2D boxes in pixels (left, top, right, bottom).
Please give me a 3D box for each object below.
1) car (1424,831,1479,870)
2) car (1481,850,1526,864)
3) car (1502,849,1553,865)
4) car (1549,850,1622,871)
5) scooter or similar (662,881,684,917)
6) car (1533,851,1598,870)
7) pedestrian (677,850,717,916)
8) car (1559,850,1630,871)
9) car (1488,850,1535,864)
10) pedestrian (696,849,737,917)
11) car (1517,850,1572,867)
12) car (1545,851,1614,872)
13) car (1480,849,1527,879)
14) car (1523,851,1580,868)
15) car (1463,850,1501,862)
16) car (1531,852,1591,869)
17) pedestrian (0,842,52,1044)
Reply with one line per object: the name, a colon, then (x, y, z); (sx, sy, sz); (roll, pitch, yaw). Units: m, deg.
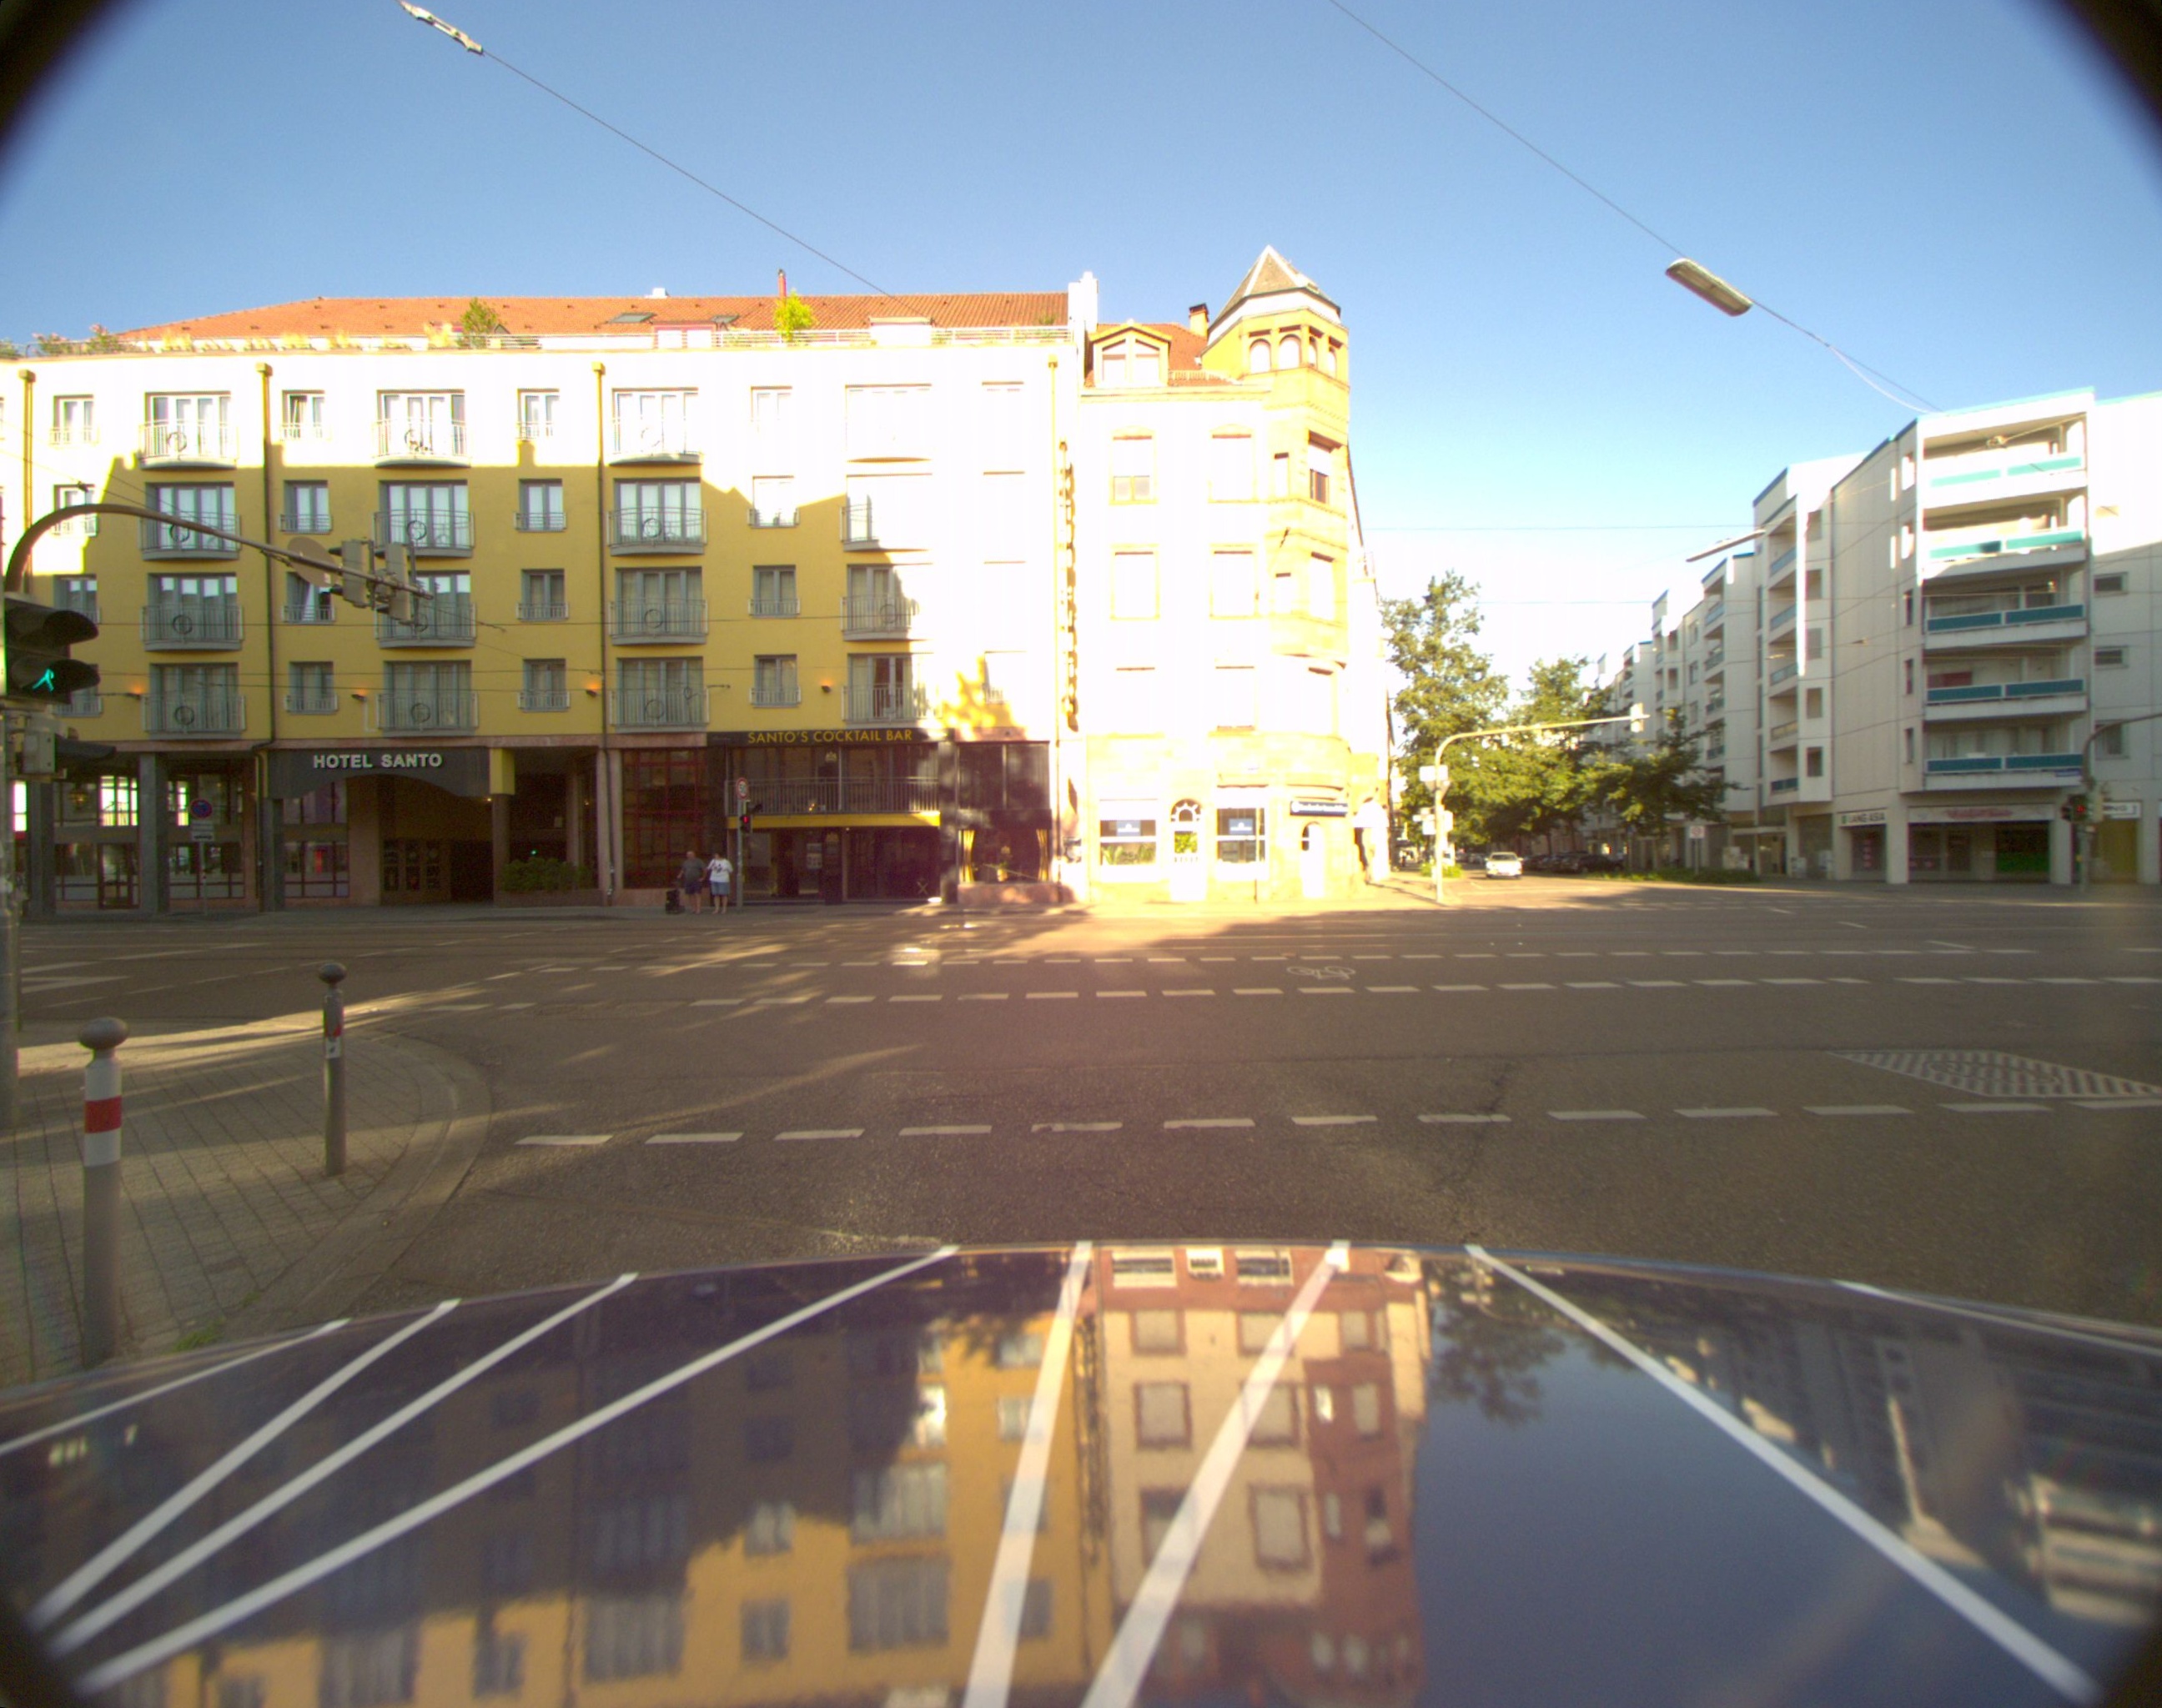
car: (32.793, -0.298, 67.553); (3.319, 3.160, 8.094); (-1, 0, 18)
car: (49.855, 0.309, 89.770); (4.296, 1.576, 2.003); (-1, 0, 17)
car: (47.017, 0.301, 80.104); (4.296, 1.576, 2.003); (-1, 0, 17)
car: (39.462, 0.507, 59.539); (4.296, 1.576, 2.002); (-1, 0, 16)
scooter or similar: (-11.497, 1.259, 21.423); (0.357, 0.972, 0.422); (-1, 4, -1)
car: (40.940, 0.541, 64.320); (4.296, 1.576, 2.002); (-1, 0, 16)
pedestrian: (-10.954, 0.813, 21.693); (0.678, 1.831, 0.726); (-1, 4, 1)
car: (38.615, 0.488, 57.239); (3.992, 1.576, 2.002); (-1, 0, 16)
car: (49.221, 0.323, 86.989); (4.296, 1.576, 2.003); (-1, 0, 17)
pedestrian: (-10.221, 0.808, 21.329); (0.735, 1.831, 0.726); (-1, 4, 1)
car: (45.777, 0.432, 75.128); (4.296, 1.576, 2.003); (-1, 0, 17)
car: (40.520, 0.604, 61.911); (4.296, 1.576, 2.002); (-1, 0, 16)
car: (25.848, 0.567, 46.625); (1.995, 1.739, 4.006); (-1, 0, 21)
car: (45.037, 0.499, 72.829); (4.296, 1.576, 2.003); (-1, 0, 17)
car: (54.860, 0.217, 104.041); (4.296, 1.576, 2.003); (-1, 0, 17)
car: (43.952, 0.590, 69.722); (4.296, 1.576, 2.003); (-1, 0, 17)
pedestrian: (-9.492, 0.745, 6.047); (1.175, 1.670, 1.005); (-1, 0, -24)
